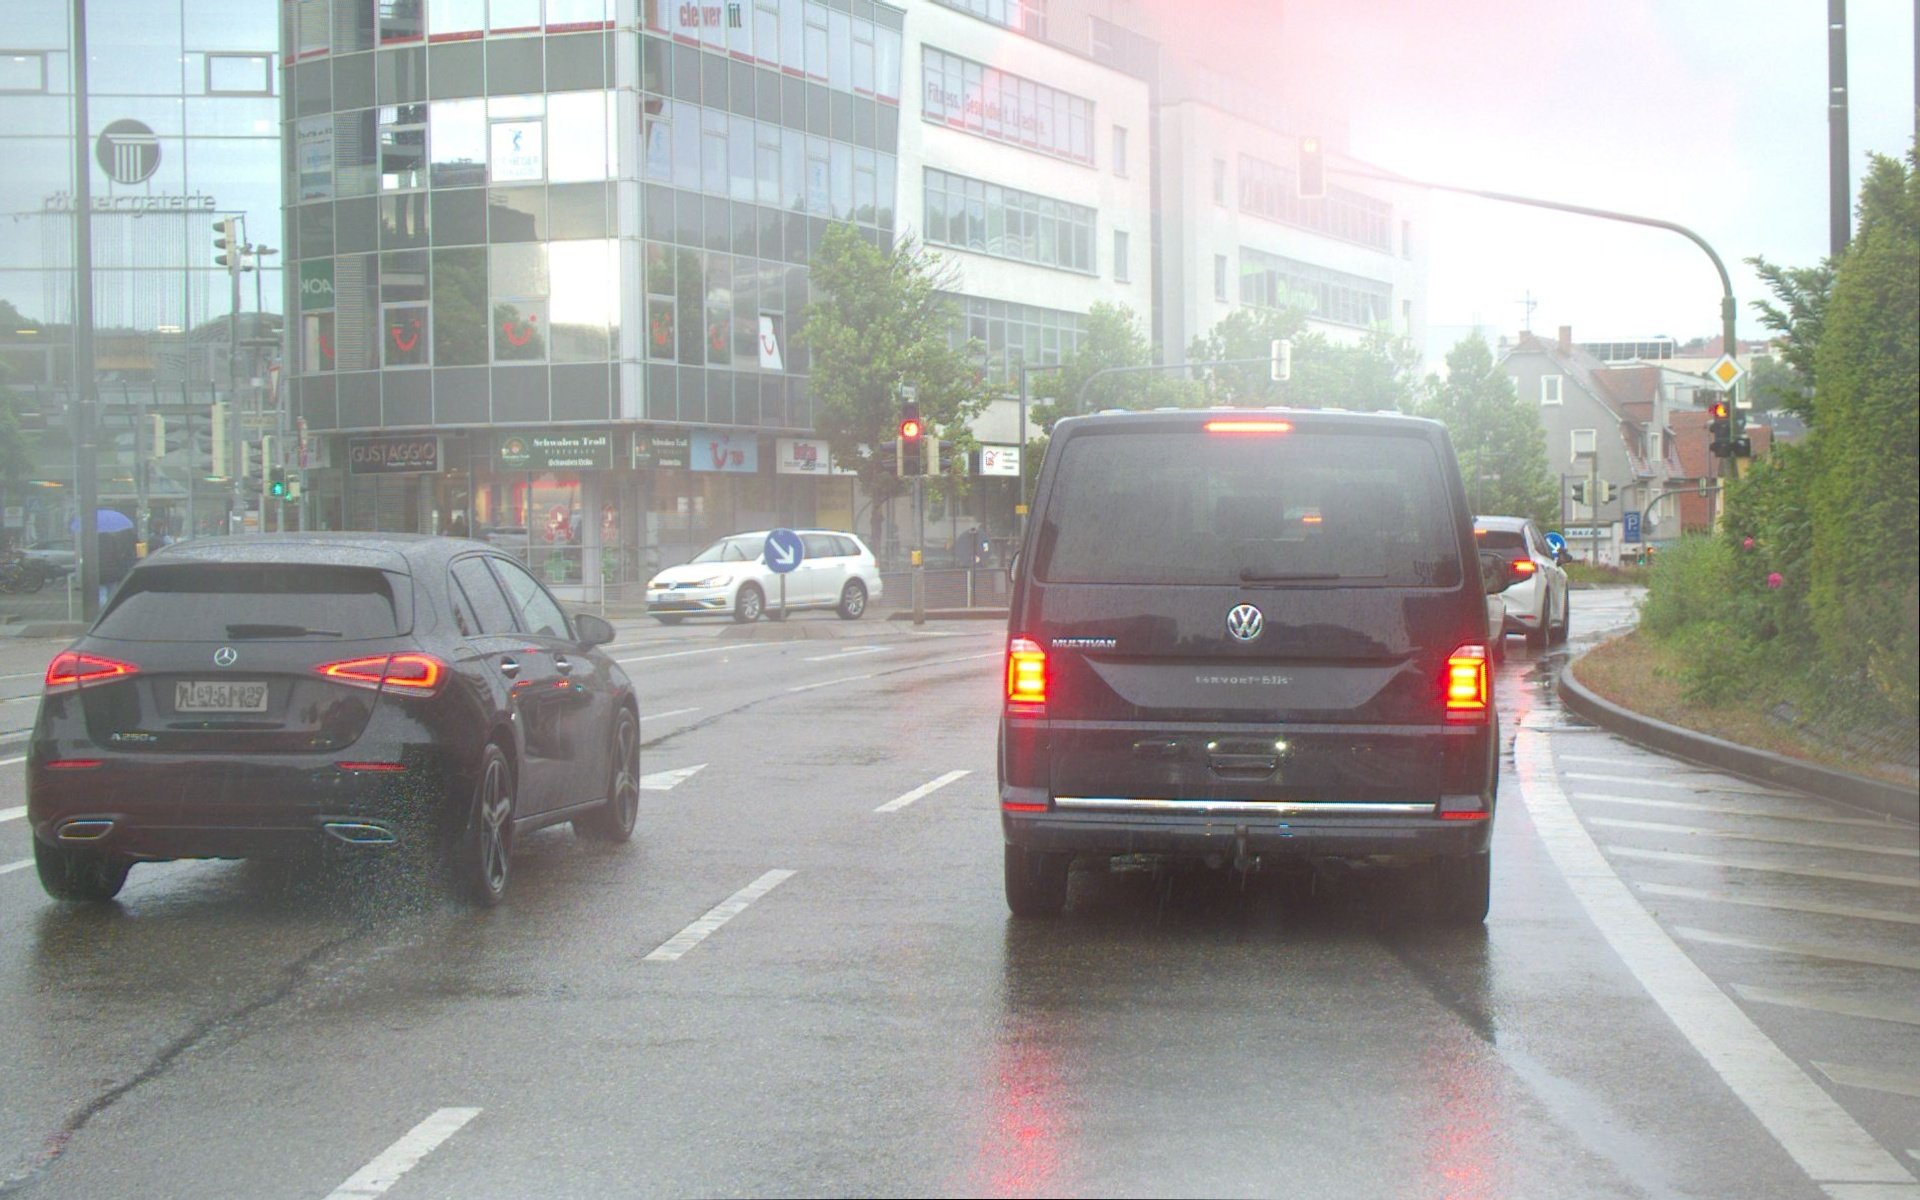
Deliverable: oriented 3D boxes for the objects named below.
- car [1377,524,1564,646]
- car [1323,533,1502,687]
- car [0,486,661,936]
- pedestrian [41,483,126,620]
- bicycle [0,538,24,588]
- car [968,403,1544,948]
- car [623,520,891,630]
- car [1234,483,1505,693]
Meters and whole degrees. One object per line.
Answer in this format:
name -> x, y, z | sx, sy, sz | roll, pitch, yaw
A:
car -> 6.184, -0.210, 41.387 | 1.913, 1.395, 3.456 | 0, 1, 14
car -> 4.675, 0.055, 35.126 | 1.634, 1.443, 4.267 | 1, 1, 10
car -> -2.537, 0.338, 14.421 | 1.816, 1.524, 3.812 | 2, 3, 6
pedestrian -> -13.018, -0.725, 51.049 | 1.162, 2.007, 1.329 | 0, 1, -16
bicycle -> -24.834, -0.925, 86.771 | 2.273, 1.242, 0.677 | -1, 1, -11
car -> 1.266, 0.223, 14.309 | 1.996, 1.887, 4.586 | 0, 1, 6
car -> -3.177, -0.429, 54.694 | 1.889, 1.676, 4.497 | 1, 1, 35
car -> 3.504, -0.153, 28.799 | 1.902, 1.615, 4.333 | 0, 1, 11
